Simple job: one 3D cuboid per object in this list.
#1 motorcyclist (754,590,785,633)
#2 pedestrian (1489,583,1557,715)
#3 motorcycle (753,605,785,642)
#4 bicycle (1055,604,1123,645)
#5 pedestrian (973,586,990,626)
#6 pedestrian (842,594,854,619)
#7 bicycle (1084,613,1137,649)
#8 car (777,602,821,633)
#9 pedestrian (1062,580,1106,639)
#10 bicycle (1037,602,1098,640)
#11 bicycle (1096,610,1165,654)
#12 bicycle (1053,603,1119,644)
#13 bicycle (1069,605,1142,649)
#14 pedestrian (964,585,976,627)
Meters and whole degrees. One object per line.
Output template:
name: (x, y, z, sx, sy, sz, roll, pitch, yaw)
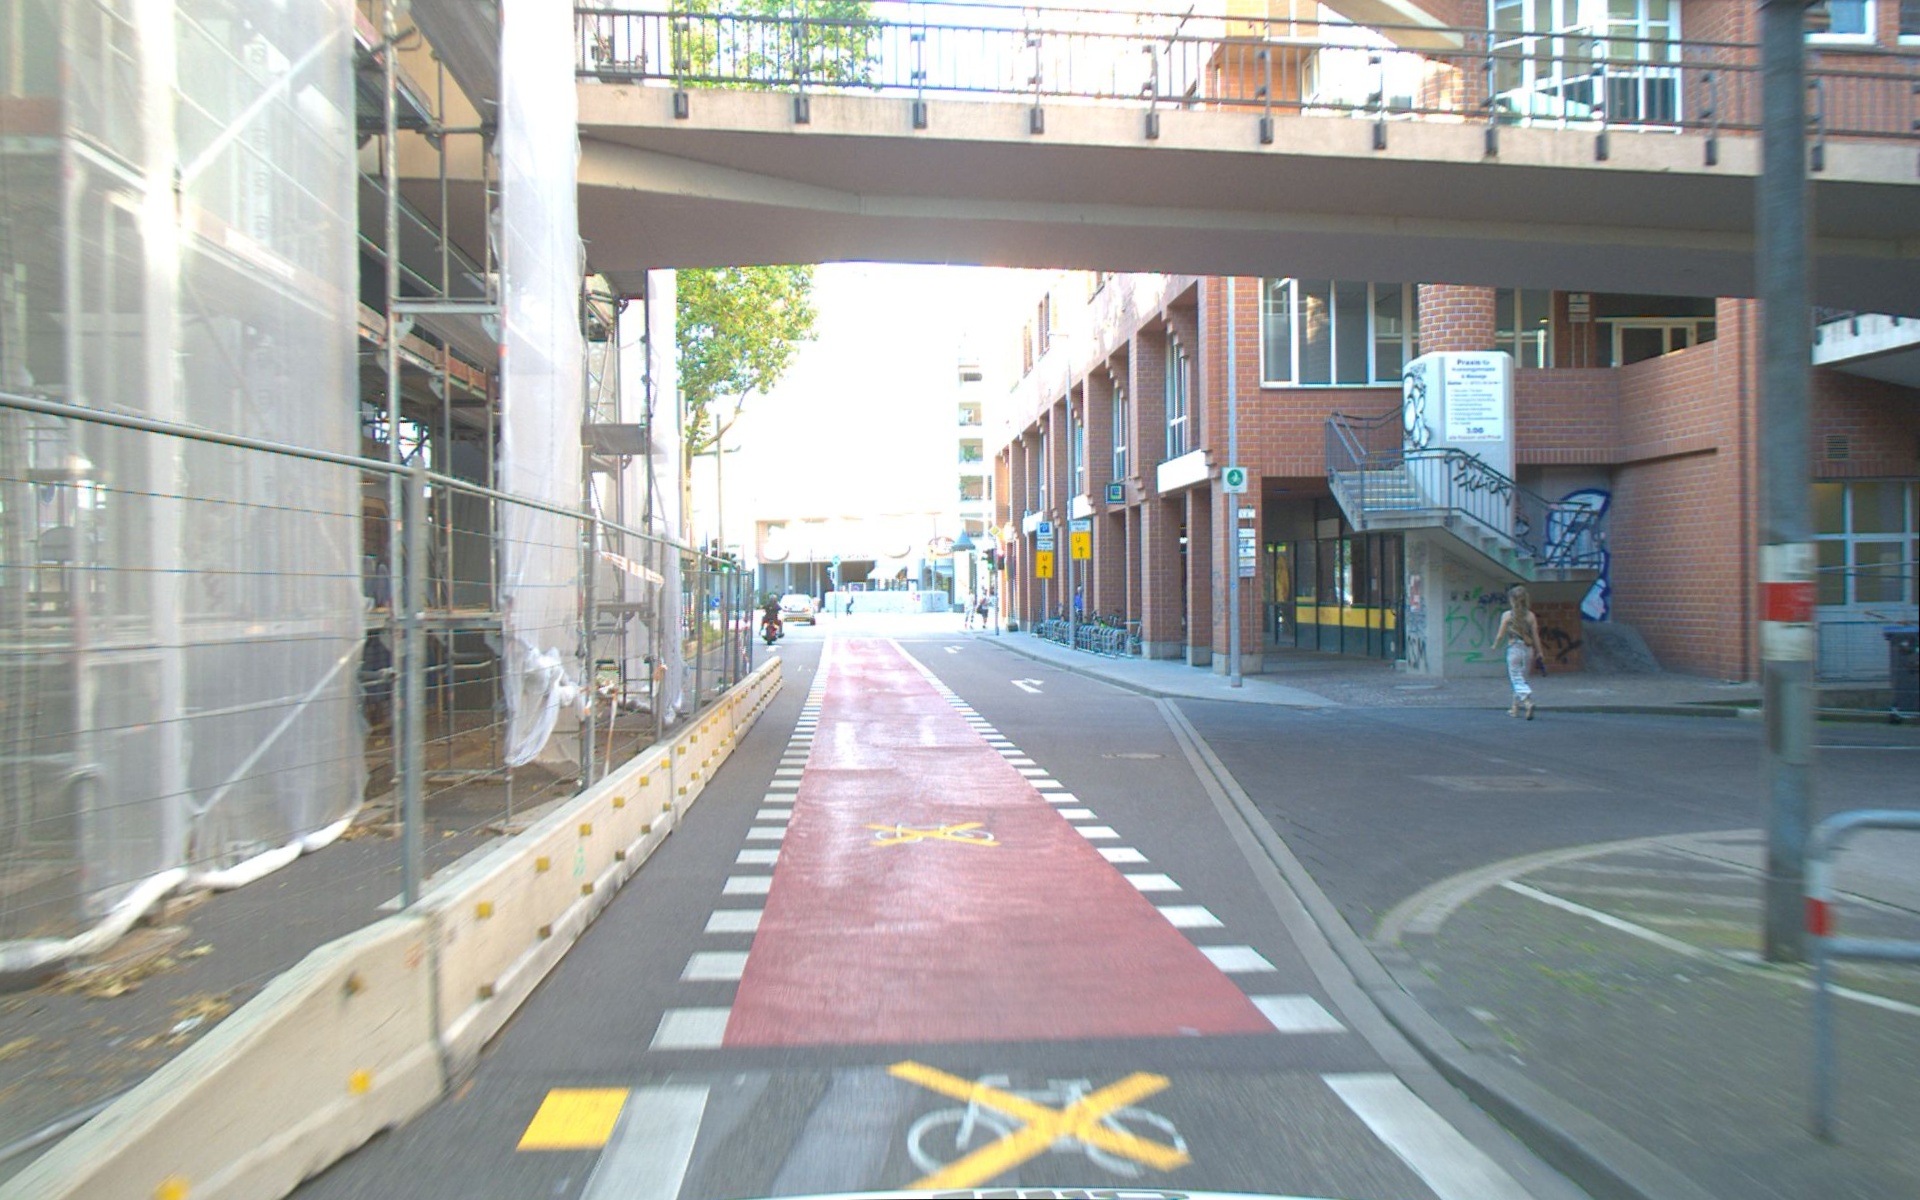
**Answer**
motorcyclist: (-6.149, 0.360, 53.407, 0.951, 1.370, 1.136, 0, 0, -5)
pedestrian: (7.256, 0.618, 21.332, 0.558, 1.662, 0.777, -1, 0, -6)
motorcycle: (-6.179, 0.746, 53.681, 0.954, 1.151, 2.802, 0, 0, -5)
bicycle: (3.740, 0.705, 48.025, 1.854, 1.138, 0.550, -2, 0, -5)
pedestrian: (0.937, 0.263, 72.413, 0.621, 1.755, 0.629, -1, 0, -5)
pedestrian: (-7.295, 0.408, 108.049, 0.547, 1.611, 0.537, -1, 0, 43)
bicycle: (3.985, 0.826, 43.918, 1.307, 0.856, 0.424, -4, 1, -3)
car: (-7.831, 0.829, 80.282, 1.888, 1.413, 3.992, -1, 1, -9)
pedestrian: (3.804, 0.289, 50.648, 1.170, 1.726, 0.885, -3, 0, -2)
bicycle: (3.391, 0.659, 52.178, 1.854, 1.138, 0.474, -2, 0, -5)
bicycle: (4.242, 0.792, 41.181, 1.579, 0.971, 0.554, -4, 1, -3)
bicycle: (3.691, 0.686, 48.597, 1.854, 1.138, 0.474, -2, 0, -5)
bicycle: (3.989, 0.730, 45.382, 1.894, 1.075, 0.572, -3, 0, -2)
pedestrian: (0.435, 0.252, 72.315, 0.466, 1.824, 0.540, -1, 0, -5)
